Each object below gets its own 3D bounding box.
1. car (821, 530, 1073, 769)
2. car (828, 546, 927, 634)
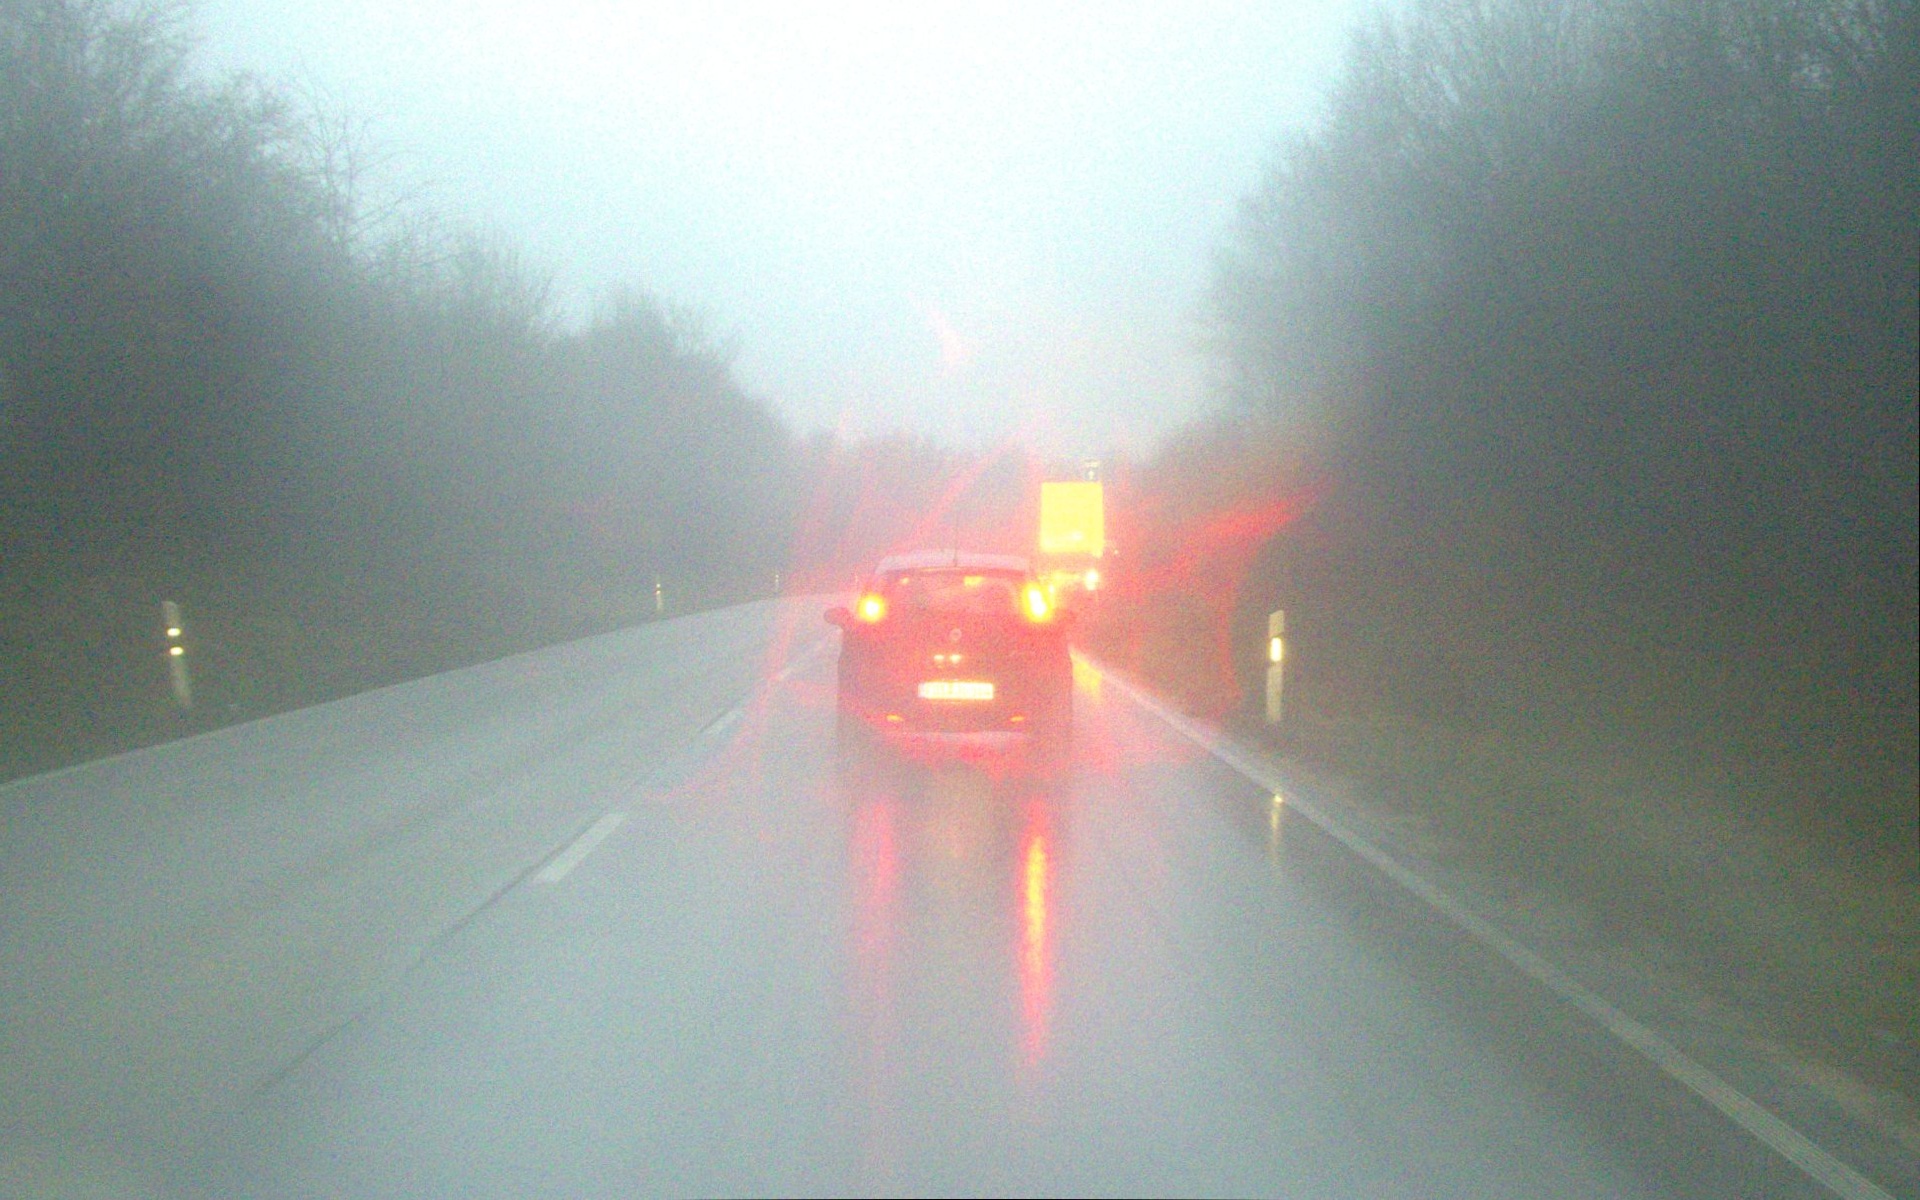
[{"bbox_3d":[-0.062,0.313,25.621,1.728,1.638,4.000,0,1,1],"label":"car"},{"bbox_3d":[-1.536,-0.213,65.365,1.728,1.638,4.000,0,1,1],"label":"car"}]
